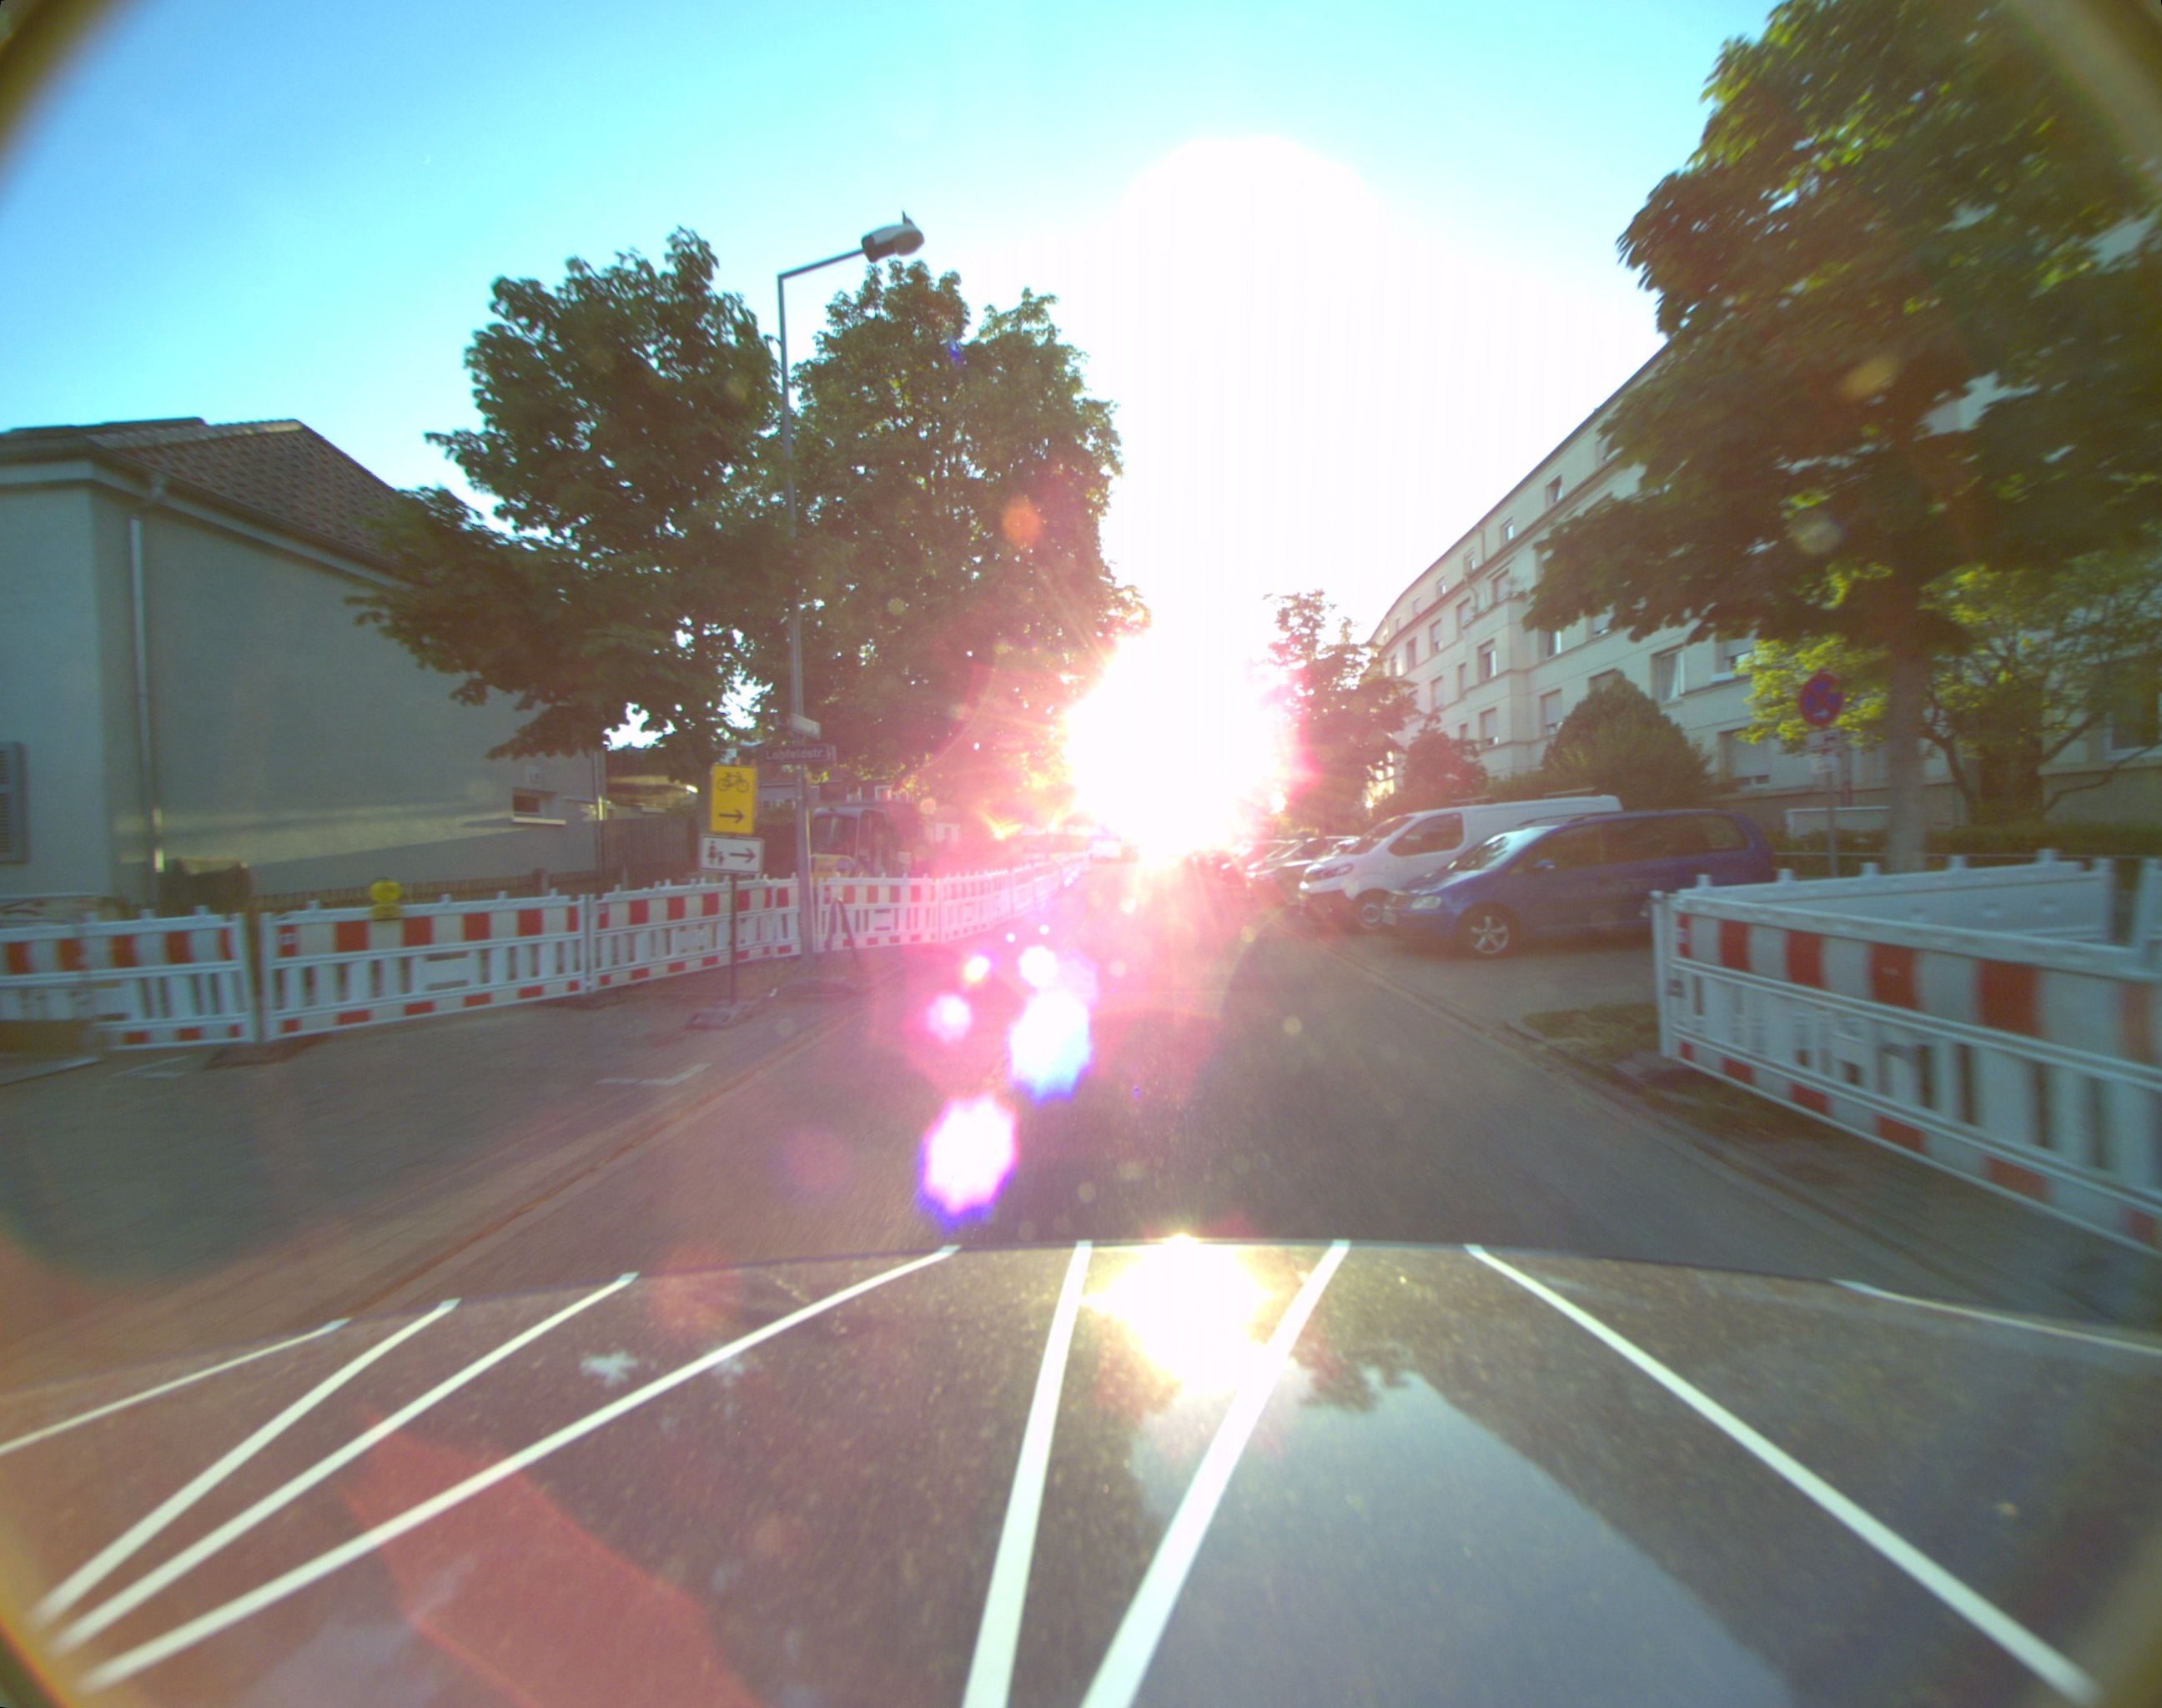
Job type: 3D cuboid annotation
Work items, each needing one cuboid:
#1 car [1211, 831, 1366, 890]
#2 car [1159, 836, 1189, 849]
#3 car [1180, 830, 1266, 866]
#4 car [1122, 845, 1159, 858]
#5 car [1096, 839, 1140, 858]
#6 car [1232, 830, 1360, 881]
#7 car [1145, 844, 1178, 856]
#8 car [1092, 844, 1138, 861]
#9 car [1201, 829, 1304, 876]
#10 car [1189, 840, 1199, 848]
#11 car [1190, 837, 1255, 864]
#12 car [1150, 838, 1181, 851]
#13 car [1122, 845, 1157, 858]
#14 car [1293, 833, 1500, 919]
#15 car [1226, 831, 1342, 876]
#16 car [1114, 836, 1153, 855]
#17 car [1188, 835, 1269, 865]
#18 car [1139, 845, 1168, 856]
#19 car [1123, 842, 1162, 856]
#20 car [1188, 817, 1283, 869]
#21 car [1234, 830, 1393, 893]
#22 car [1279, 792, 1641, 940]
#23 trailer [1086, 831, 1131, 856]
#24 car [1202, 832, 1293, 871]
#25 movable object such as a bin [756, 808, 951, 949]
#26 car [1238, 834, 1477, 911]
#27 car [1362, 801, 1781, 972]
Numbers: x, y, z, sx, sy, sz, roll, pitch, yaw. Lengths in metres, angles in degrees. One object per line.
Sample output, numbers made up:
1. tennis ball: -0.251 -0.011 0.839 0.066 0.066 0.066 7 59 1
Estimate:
1. car: 6.574 0.199 24.394 4.417 1.605 1.899 -3 1 -1
2. car: 16.643 -2.121 135.741 4.966 2.089 2.153 -2 2 18
3. car: 8.181 -0.350 44.160 4.683 1.863 2.001 -3 1 5
4. car: 7.579 -0.357 96.321 4.421 1.566 1.983 1 0 12
5. car: 3.884 -0.577 80.038 4.308 1.789 1.906 -3 1 12
6. car: 7.515 0.054 26.805 3.997 1.574 1.731 -3 1 0
7. car: 12.350 -0.589 115.869 4.700 1.622 2.002 2 1 15
8. car: 3.489 -0.175 77.771 4.434 1.490 1.775 -3 1 12
9. car: 7.189 -0.058 32.099 3.870 1.767 1.843 -3 1 0
10. car: 24.412 -2.120 163.778 1.798 1.515 4.003 -2 0 13
11. car: 8.719 -0.207 47.019 3.776 1.430 1.656 -3 1 7
12. car: 13.449 -1.570 120.692 4.592 1.851 2.014 3 2 15
13. car: 7.213 -0.327 93.369 3.993 1.609 1.896 0 1 12
14. car: 6.188 0.418 15.233 3.422 1.475 1.759 -3 1 5
15. car: 7.845 -0.026 29.620 3.997 1.515 1.790 -3 1 1
16. car: 5.768 -0.909 83.469 3.993 1.893 2.002 -3 1 12
17. car: 8.122 -0.208 42.071 4.183 1.417 2.001 -3 1 6
18. car: 10.609 -0.533 111.167 3.992 1.537 1.846 1 2 13
19. car: 7.977 -0.596 98.759 4.793 1.744 2.019 1 0 12
20. car: 7.940 -0.575 39.422 4.512 2.417 2.000 -3 1 4
21. car: 6.631 0.204 21.951 3.997 1.569 1.801 -3 1 -1
22. car: 5.879 0.183 12.296 4.783 2.002 2.000 -3 1 3
23. trailer: 2.722 -1.040 74.584 3.993 2.175 2.002 -3 1 14
24. car: 7.612 -0.123 34.978 3.868 1.585 1.786 -3 1 7
25. movable object such as a bin: -4.503 0.424 16.195 2.635 2.389 5.196 -3 0 -2
26. car: 6.197 0.385 17.483 4.783 1.462 1.881 -3 1 3
27. car: 5.853 0.365 9.461 3.997 1.742 1.799 -3 1 1
